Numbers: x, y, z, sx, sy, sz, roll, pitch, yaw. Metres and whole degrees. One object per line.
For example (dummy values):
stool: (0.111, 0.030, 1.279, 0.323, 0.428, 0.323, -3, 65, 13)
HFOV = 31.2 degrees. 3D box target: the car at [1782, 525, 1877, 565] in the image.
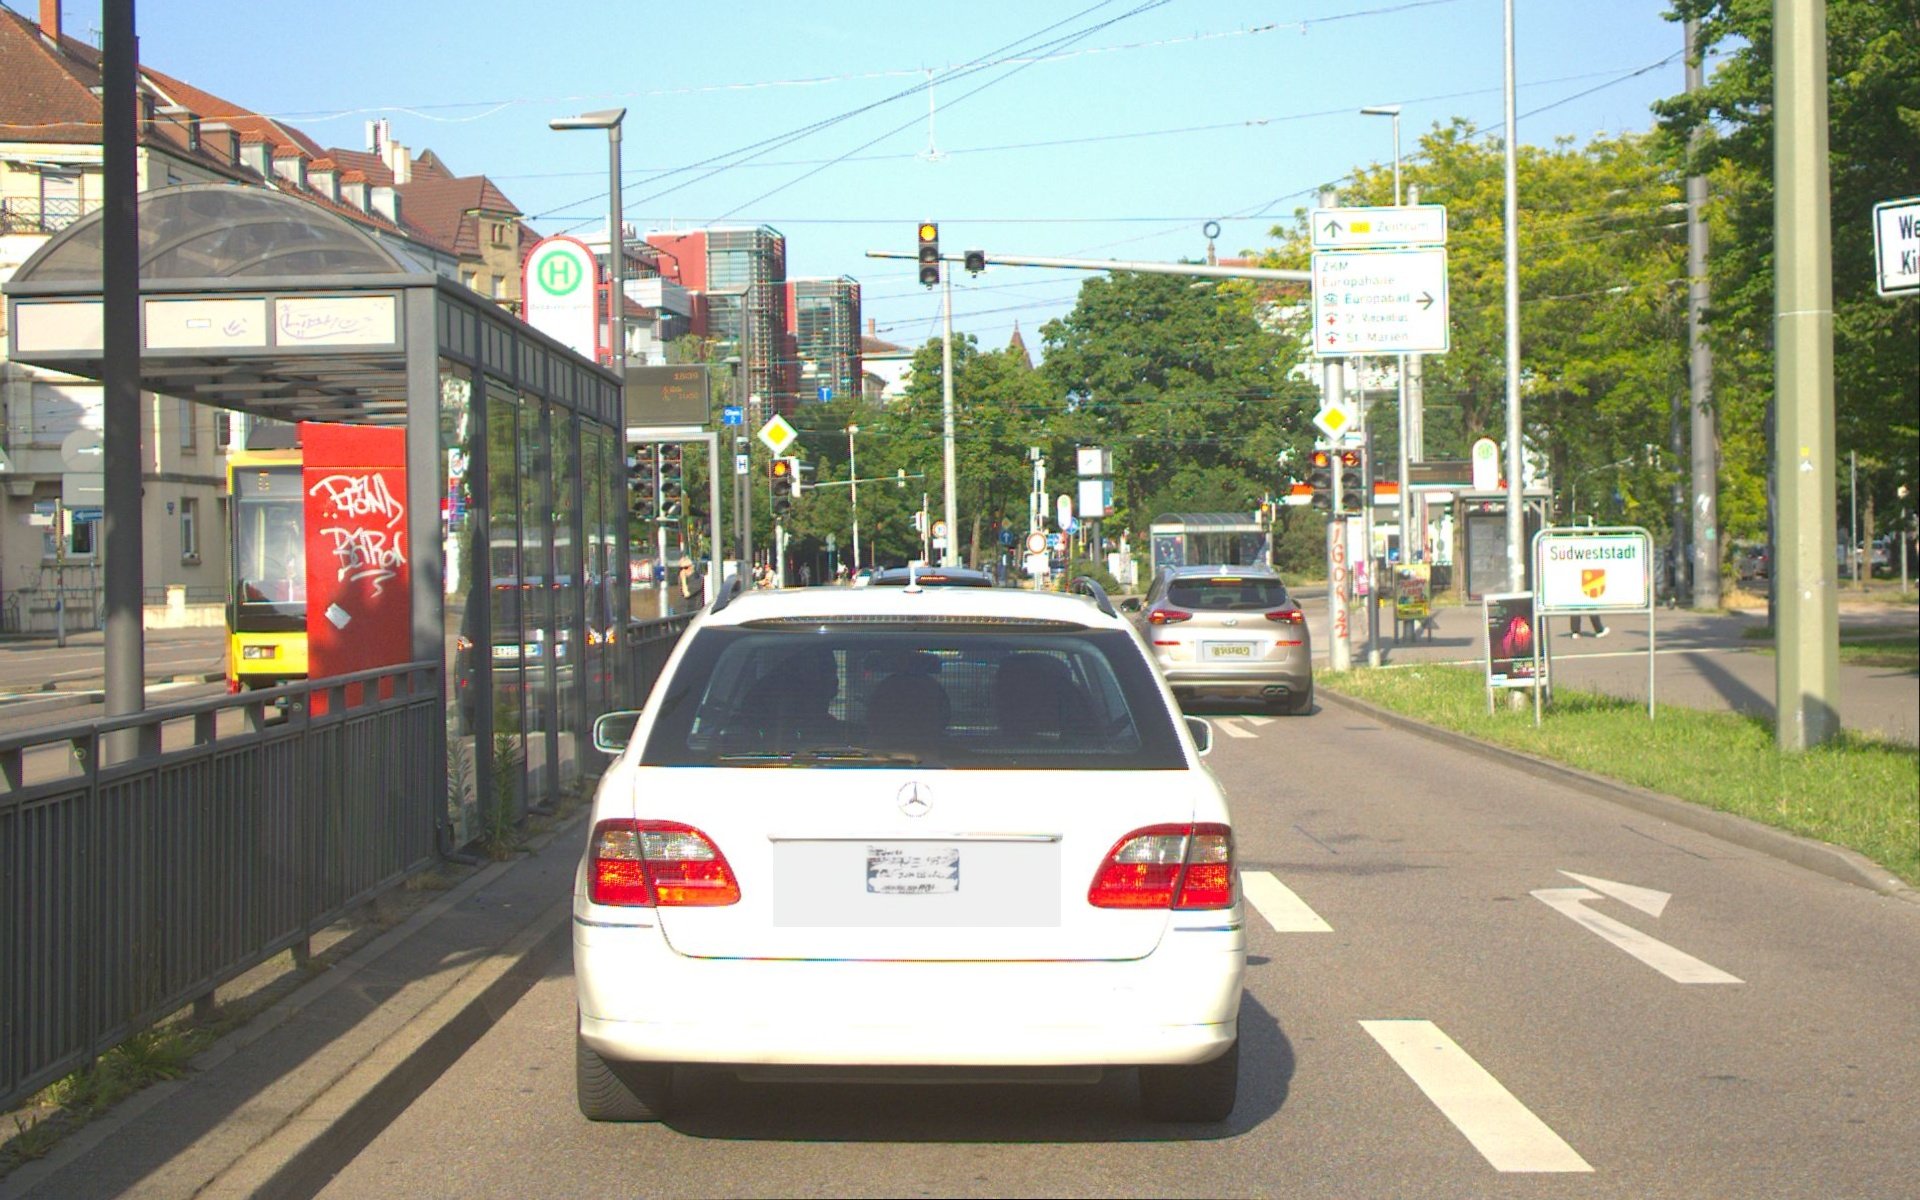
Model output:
car: (38.052, -2.400, 150.434, 3.989, 1.645, 1.999, -1, 1, 14)

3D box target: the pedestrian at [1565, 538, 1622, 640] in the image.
pedestrian: (10.320, -0.181, 56.041, 0.887, 1.647, 0.745, 0, 1, 8)

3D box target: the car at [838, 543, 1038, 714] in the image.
car: (-0.171, 0.251, 36.154, 1.787, 1.684, 4.000, 0, 1, 4)

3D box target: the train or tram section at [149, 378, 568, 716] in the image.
train or tram section: (-6.937, -0.681, 41.922, 2.849, 3.467, 13.200, 0, 1, 0)

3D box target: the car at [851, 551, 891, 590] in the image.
car: (-4.724, -1.548, 182.502, 1.993, 2.007, 4.000, -1, 1, -1)

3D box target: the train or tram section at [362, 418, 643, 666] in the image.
train or tram section: (-7.035, -0.934, 54.906, 2.849, 3.467, 13.201, 0, 1, -1)

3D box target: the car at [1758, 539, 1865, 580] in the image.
car: (35.870, -1.719, 144.822, 3.986, 1.645, 2.000, -2, 1, -26)

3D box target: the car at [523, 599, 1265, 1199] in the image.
car: (-0.187, 0.801, 10.267, 1.758, 1.498, 4.000, -1, 1, -1)

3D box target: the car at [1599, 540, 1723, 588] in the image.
car: (25.395, -1.311, 124.560, 3.986, 1.645, 2.000, -2, 1, -26)

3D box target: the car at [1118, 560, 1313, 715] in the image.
car: (2.809, 0.371, 37.954, 2.033, 1.600, 4.000, 0, 1, 4)
